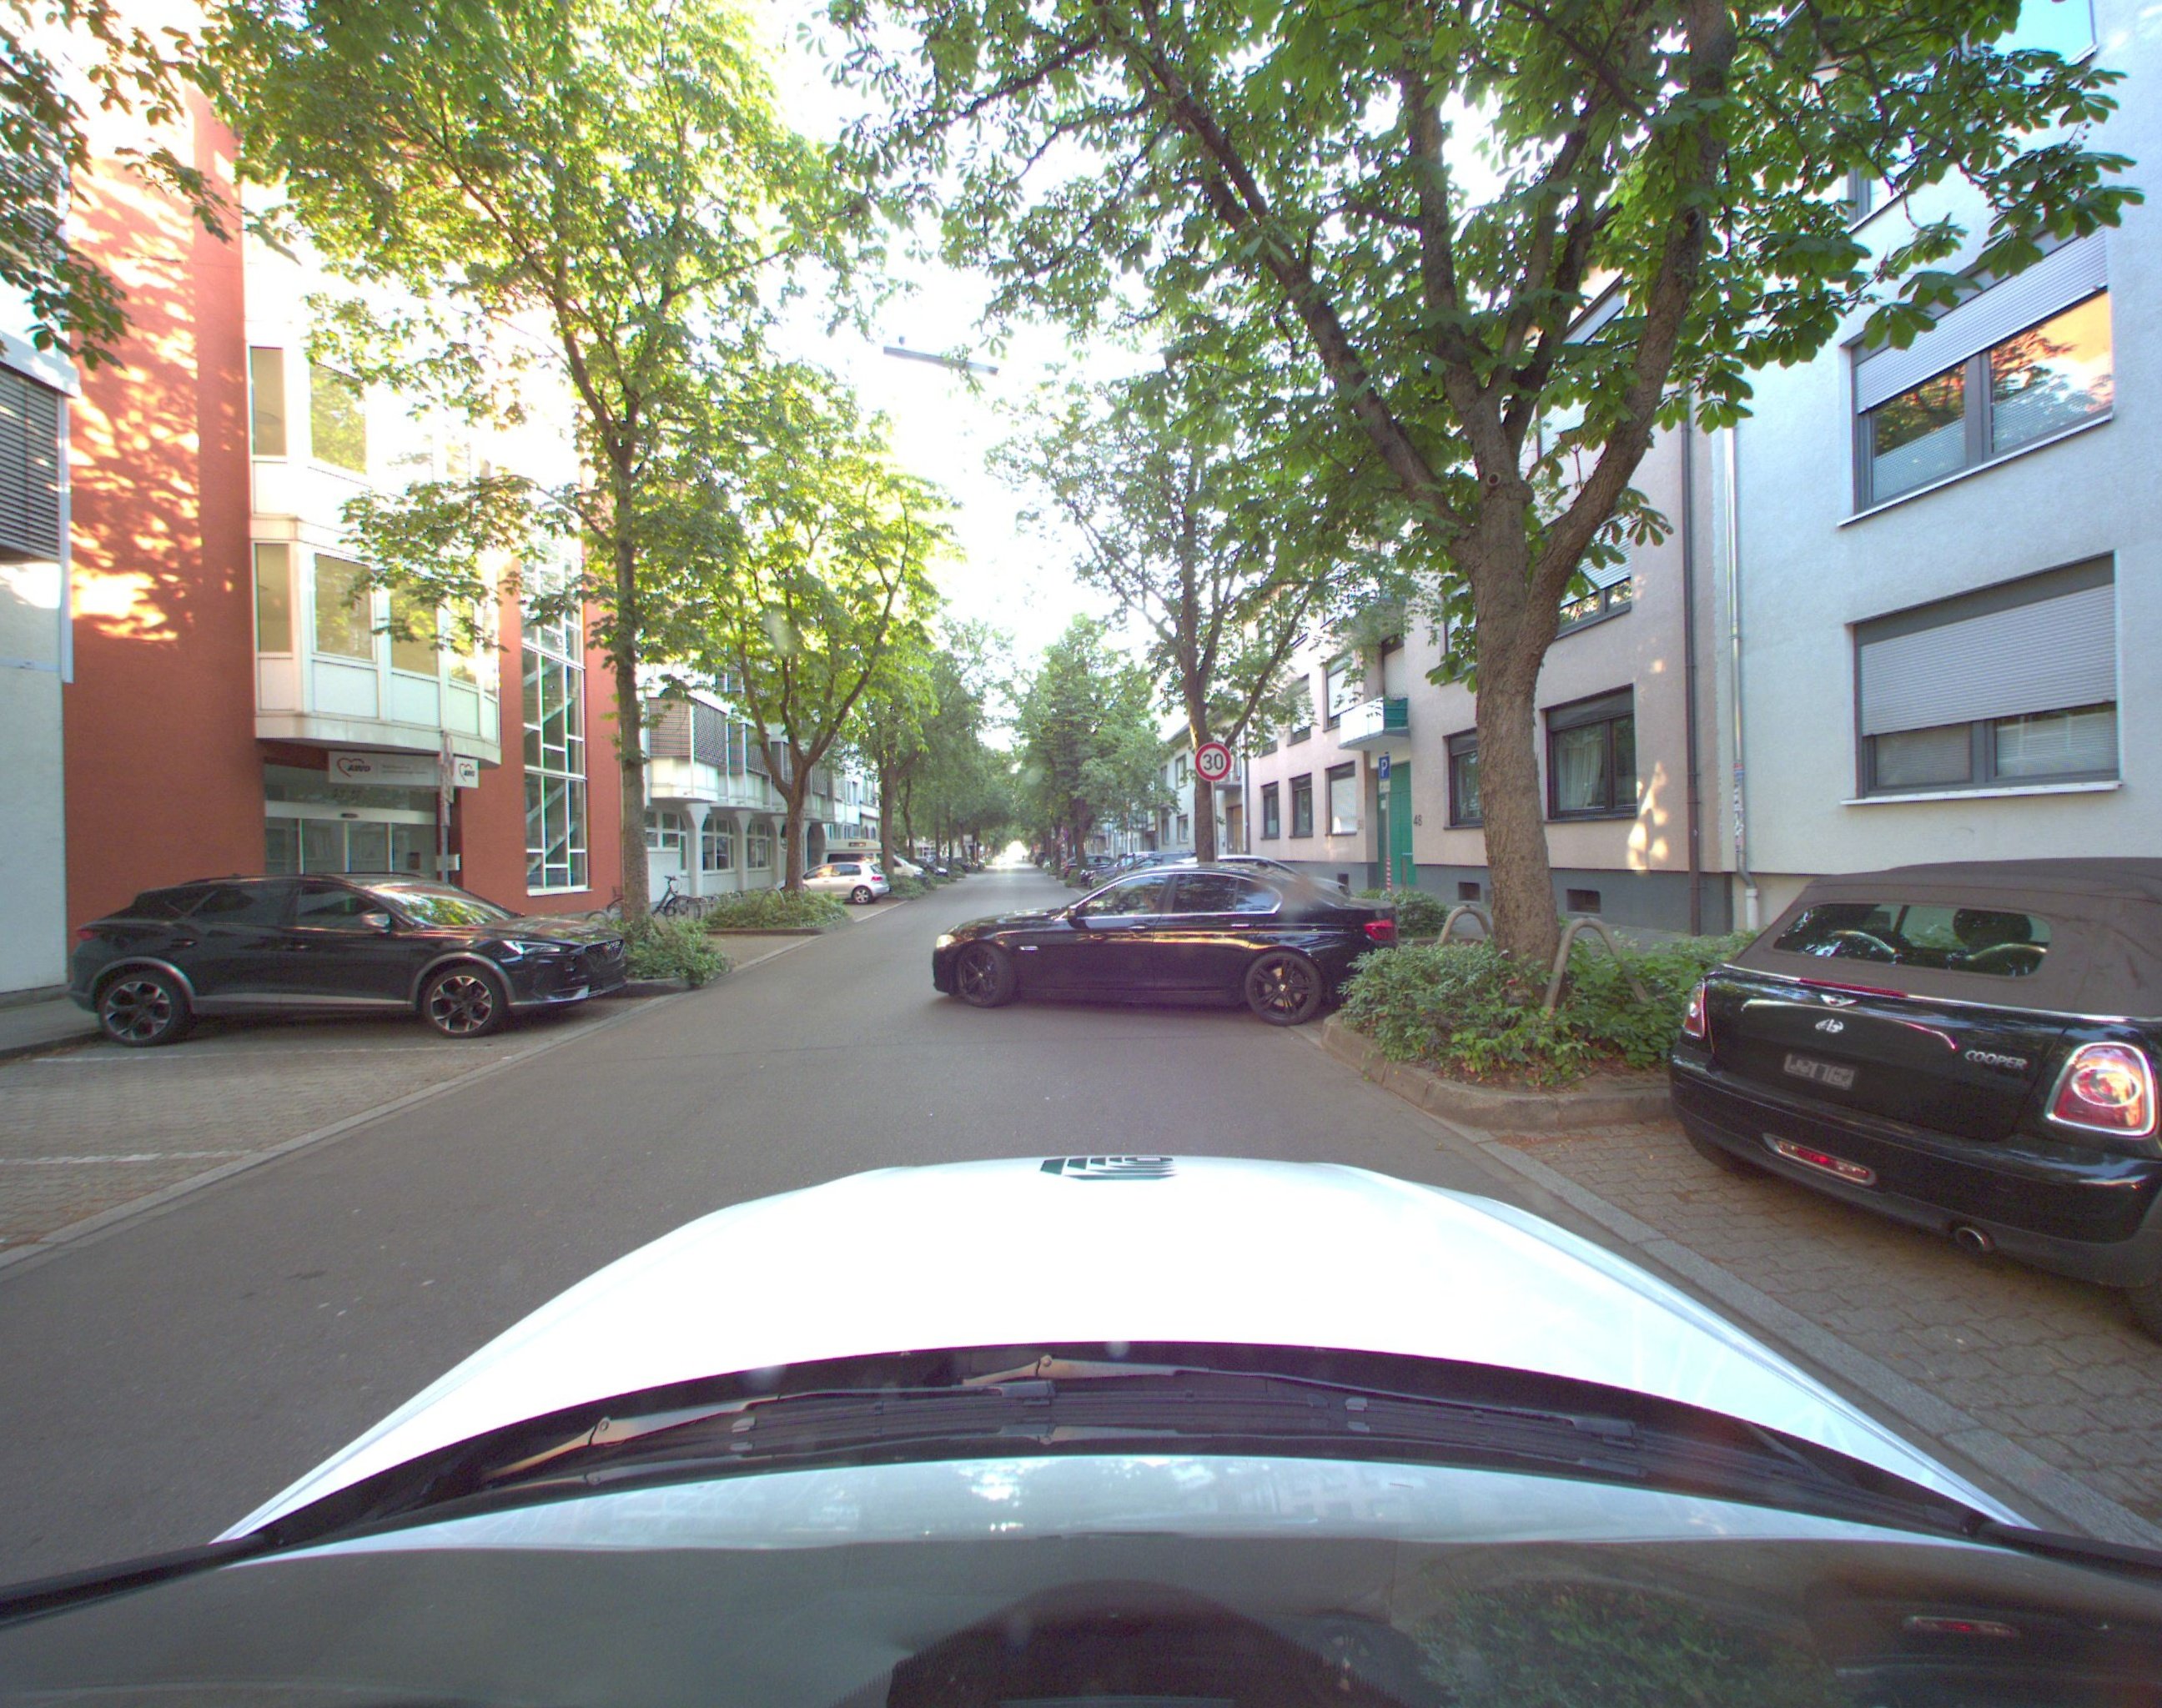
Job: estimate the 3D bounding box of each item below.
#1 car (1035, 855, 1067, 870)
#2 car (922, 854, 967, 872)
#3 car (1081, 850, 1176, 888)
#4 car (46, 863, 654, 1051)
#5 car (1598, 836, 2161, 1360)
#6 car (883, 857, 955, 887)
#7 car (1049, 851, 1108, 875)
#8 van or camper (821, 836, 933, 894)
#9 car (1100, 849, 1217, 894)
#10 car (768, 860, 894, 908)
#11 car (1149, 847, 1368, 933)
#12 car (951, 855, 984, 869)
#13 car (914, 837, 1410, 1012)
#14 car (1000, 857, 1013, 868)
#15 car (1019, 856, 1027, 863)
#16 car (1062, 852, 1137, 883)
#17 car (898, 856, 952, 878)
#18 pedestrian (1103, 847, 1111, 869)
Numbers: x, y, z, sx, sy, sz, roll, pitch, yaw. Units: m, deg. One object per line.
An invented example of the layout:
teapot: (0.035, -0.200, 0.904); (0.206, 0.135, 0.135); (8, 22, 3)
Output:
car: (-3.735, 1.029, 101.060); (3.959, 1.684, 1.783); (-2, 0, -4)
car: (-12.813, 0.842, 76.645); (3.959, 1.619, 1.783); (-2, 0, -4)
car: (2.069, 0.652, 36.249); (3.962, 1.527, 1.782); (-2, 0, -5)
car: (-7.029, 0.925, 8.279); (4.347, 1.517, 1.782); (-2, 0, -5)
car: (4.341, 0.626, 3.275); (3.608, 1.363, 1.660); (-2, 0, -8)
car: (-9.601, 1.030, 48.427); (3.960, 1.619, 1.783); (-2, 0, -4)
car: (-0.183, 0.641, 56.994); (3.963, 1.527, 1.781); (-2, 0, -6)
van or camper: (-9.300, 0.473, 37.424); (4.656, 2.478, 1.997); (-2, 0, -5)
car: (2.776, 0.616, 29.765); (3.963, 1.476, 1.781); (-2, 0, -7)
car: (-8.854, 1.032, 29.091); (3.960, 1.517, 1.783); (-2, 0, -4)
car: (3.430, 0.665, 16.125); (3.904, 1.476, 1.661); (-2, 0, -7)
car: (-14.386, 0.958, 103.228); (3.959, 1.619, 1.783); (-2, 0, -4)
car: (0.824, 0.645, 8.490); (4.706, 1.480, 1.809); (-1, 0, 18)
car: (-11.170, 1.267, 121.663); (1.775, 1.562, 4.162); (-1, 0, -4)
car: (-12.573, 1.136, 176.960); (1.819, 1.530, 3.995); (-2, 0, -4)
car: (1.010, 0.727, 45.090); (3.962, 1.527, 1.782); (-2, 0, -5)
car: (-12.406, 1.052, 64.973); (3.959, 1.619, 1.783); (-2, 0, -4)
pedestrian: (2.429, 0.366, 75.827); (0.587, 2.013, 0.669); (-1, 0, -3)
